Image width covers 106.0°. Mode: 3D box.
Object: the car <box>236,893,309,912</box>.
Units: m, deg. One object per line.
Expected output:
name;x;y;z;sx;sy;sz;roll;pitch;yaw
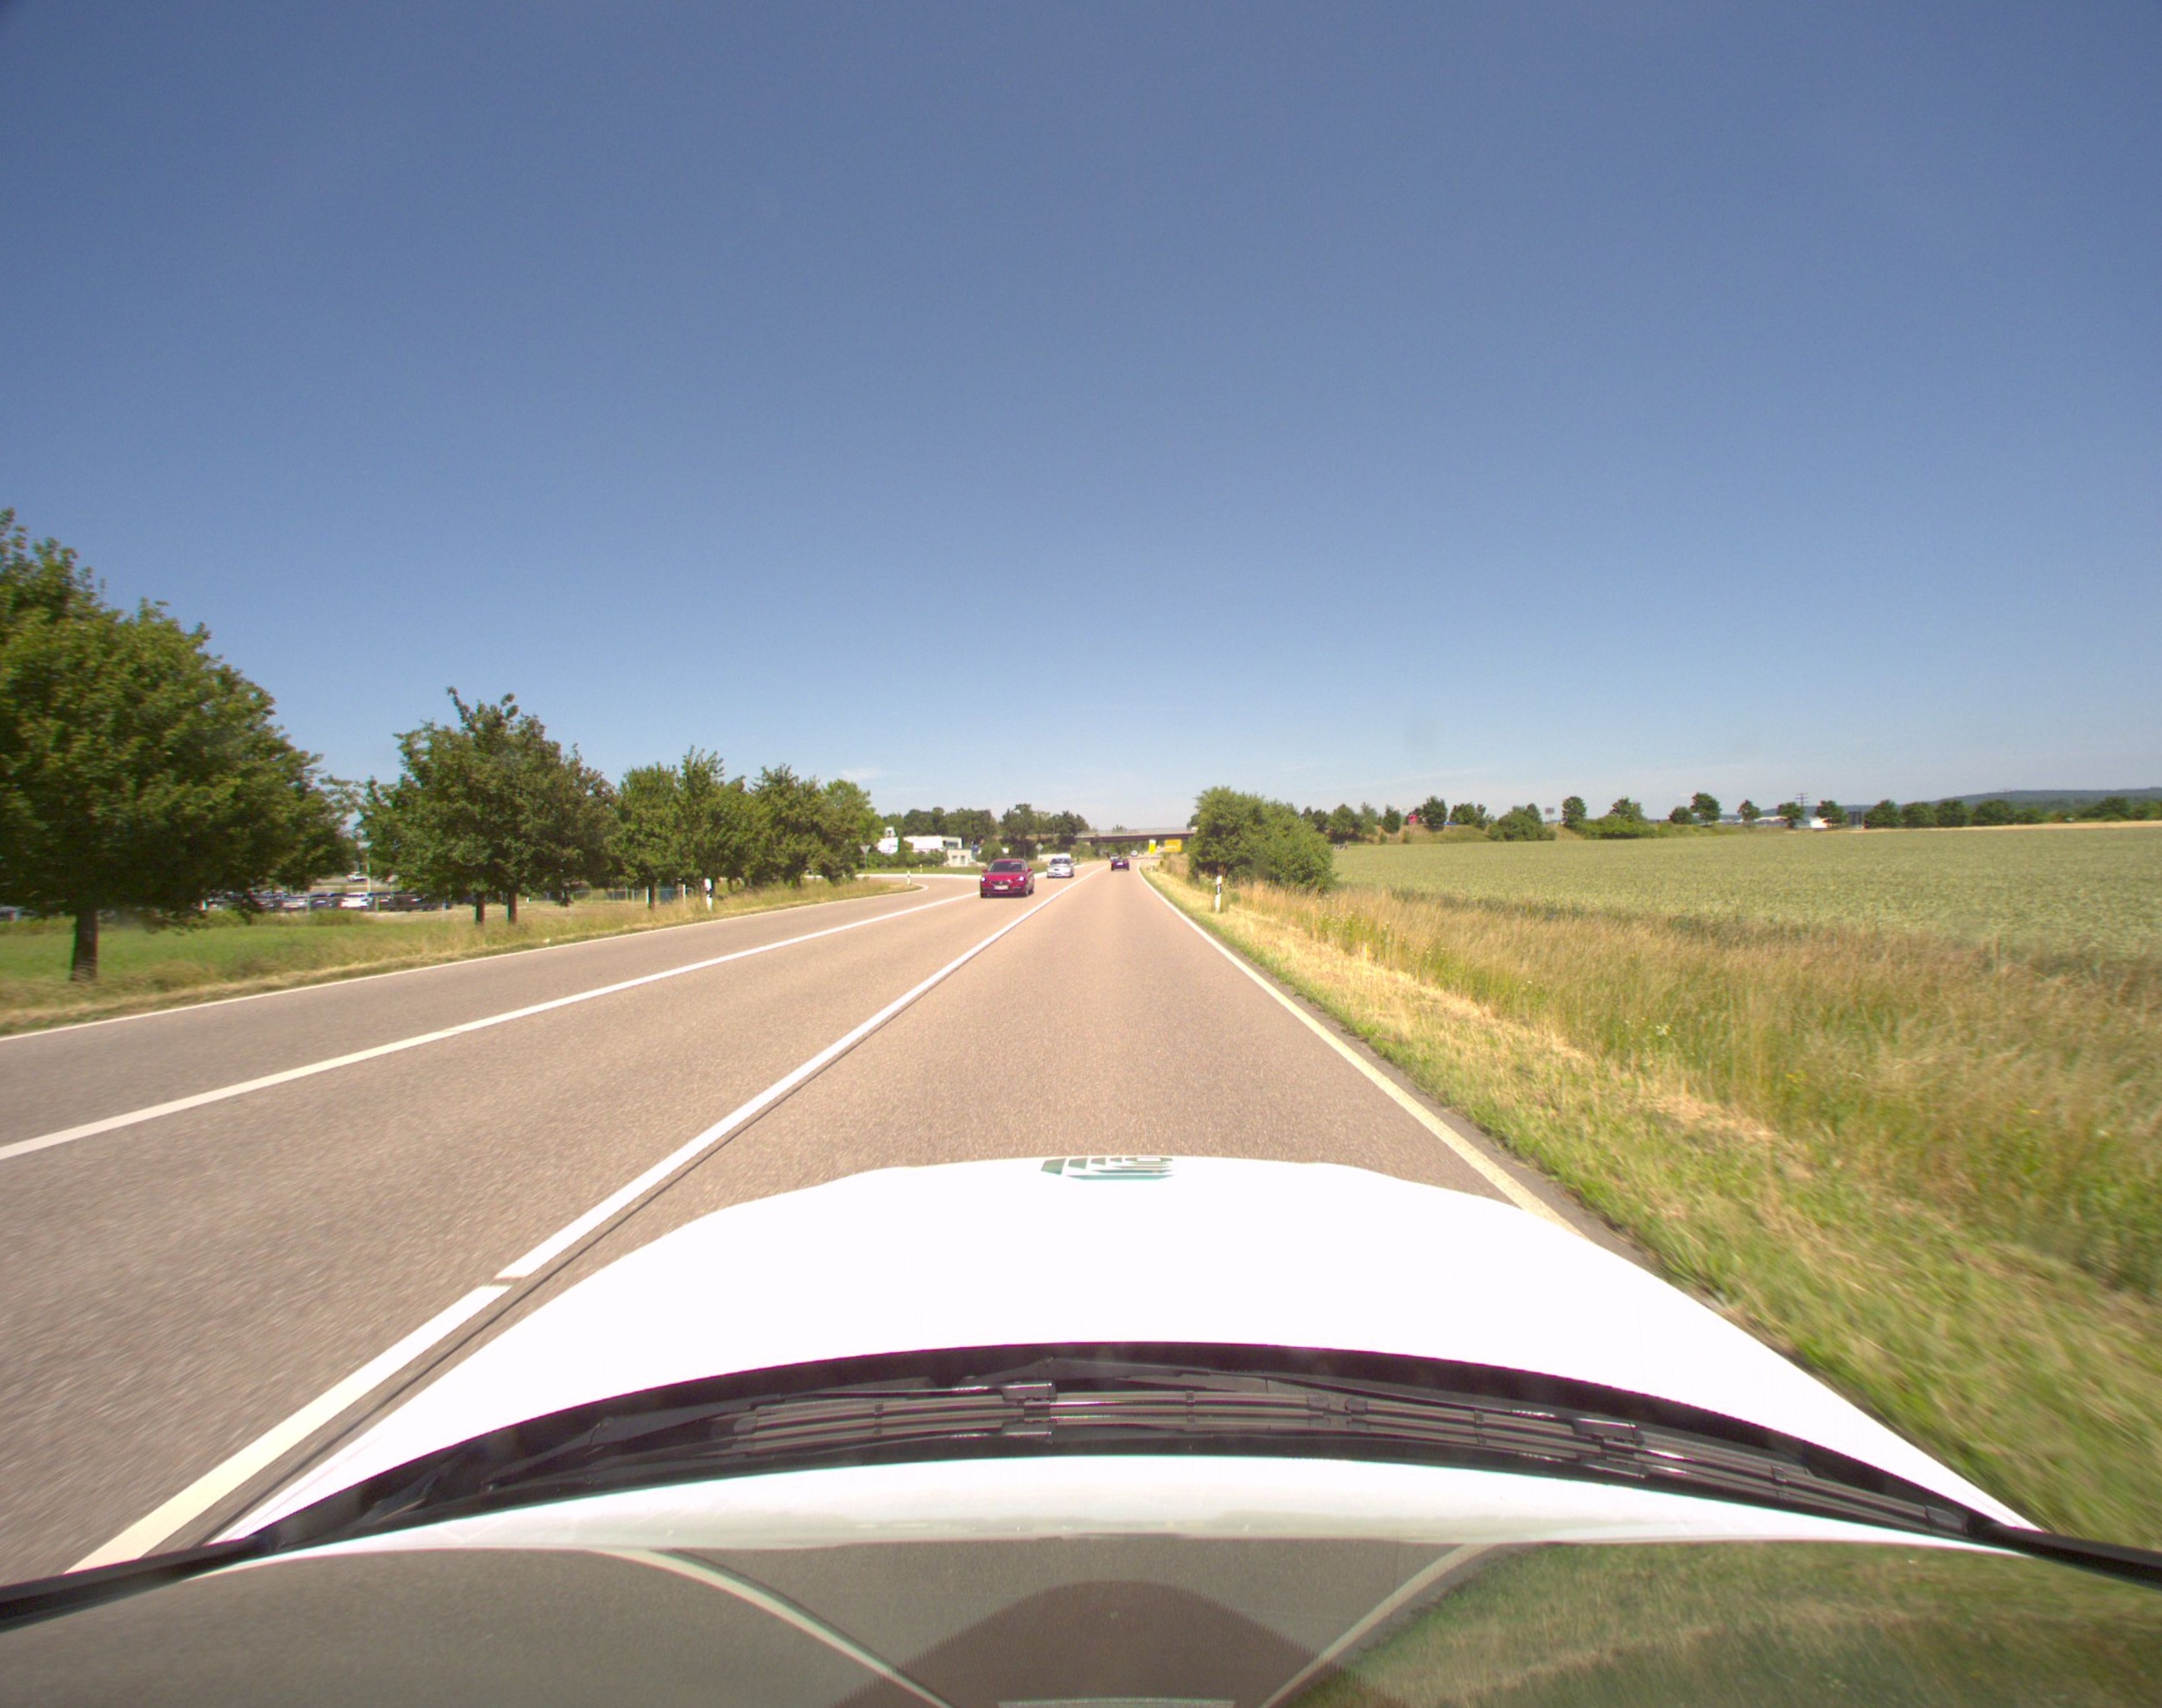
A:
car;-70.375;4.200;70.942;1.975;1.394;4.024;-2;-1;28

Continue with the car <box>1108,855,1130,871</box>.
car;3.634;0.833;78.696;1.809;1.441;3.998;-1;0;-1

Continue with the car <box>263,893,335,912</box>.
car;-67.282;4.170;70.141;1.975;1.394;4.024;-2;-1;28

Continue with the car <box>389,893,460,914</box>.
car;-53.639;4.030;66.566;1.975;1.394;4.024;-2;-1;28

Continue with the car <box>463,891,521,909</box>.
car;-56.502;4.406;78.151;1.975;1.394;4.024;-2;-1;28

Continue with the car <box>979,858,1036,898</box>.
car;-2.813;0.891;32.112;1.736;1.411;4.625;0;0;1

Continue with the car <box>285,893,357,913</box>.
car;-64.201;4.133;68.866;1.975;1.394;4.024;-2;-1;28

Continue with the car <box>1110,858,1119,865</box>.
car;7.231;1.570;174.141;1.825;1.567;3.334;0;-1;1

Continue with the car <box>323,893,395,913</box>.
car;-60.264;4.100;68.073;1.975;1.394;4.024;-2;-1;28

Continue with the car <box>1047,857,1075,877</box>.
car;-1.393;0.924;58.027;1.724;1.391;4.493;0;0;2

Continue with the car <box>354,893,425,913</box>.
car;-57.111;4.071;67.338;1.975;1.394;4.024;-2;-1;28

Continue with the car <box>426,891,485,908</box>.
car;-60.503;4.438;78.820;1.975;1.394;4.024;-2;-1;28
